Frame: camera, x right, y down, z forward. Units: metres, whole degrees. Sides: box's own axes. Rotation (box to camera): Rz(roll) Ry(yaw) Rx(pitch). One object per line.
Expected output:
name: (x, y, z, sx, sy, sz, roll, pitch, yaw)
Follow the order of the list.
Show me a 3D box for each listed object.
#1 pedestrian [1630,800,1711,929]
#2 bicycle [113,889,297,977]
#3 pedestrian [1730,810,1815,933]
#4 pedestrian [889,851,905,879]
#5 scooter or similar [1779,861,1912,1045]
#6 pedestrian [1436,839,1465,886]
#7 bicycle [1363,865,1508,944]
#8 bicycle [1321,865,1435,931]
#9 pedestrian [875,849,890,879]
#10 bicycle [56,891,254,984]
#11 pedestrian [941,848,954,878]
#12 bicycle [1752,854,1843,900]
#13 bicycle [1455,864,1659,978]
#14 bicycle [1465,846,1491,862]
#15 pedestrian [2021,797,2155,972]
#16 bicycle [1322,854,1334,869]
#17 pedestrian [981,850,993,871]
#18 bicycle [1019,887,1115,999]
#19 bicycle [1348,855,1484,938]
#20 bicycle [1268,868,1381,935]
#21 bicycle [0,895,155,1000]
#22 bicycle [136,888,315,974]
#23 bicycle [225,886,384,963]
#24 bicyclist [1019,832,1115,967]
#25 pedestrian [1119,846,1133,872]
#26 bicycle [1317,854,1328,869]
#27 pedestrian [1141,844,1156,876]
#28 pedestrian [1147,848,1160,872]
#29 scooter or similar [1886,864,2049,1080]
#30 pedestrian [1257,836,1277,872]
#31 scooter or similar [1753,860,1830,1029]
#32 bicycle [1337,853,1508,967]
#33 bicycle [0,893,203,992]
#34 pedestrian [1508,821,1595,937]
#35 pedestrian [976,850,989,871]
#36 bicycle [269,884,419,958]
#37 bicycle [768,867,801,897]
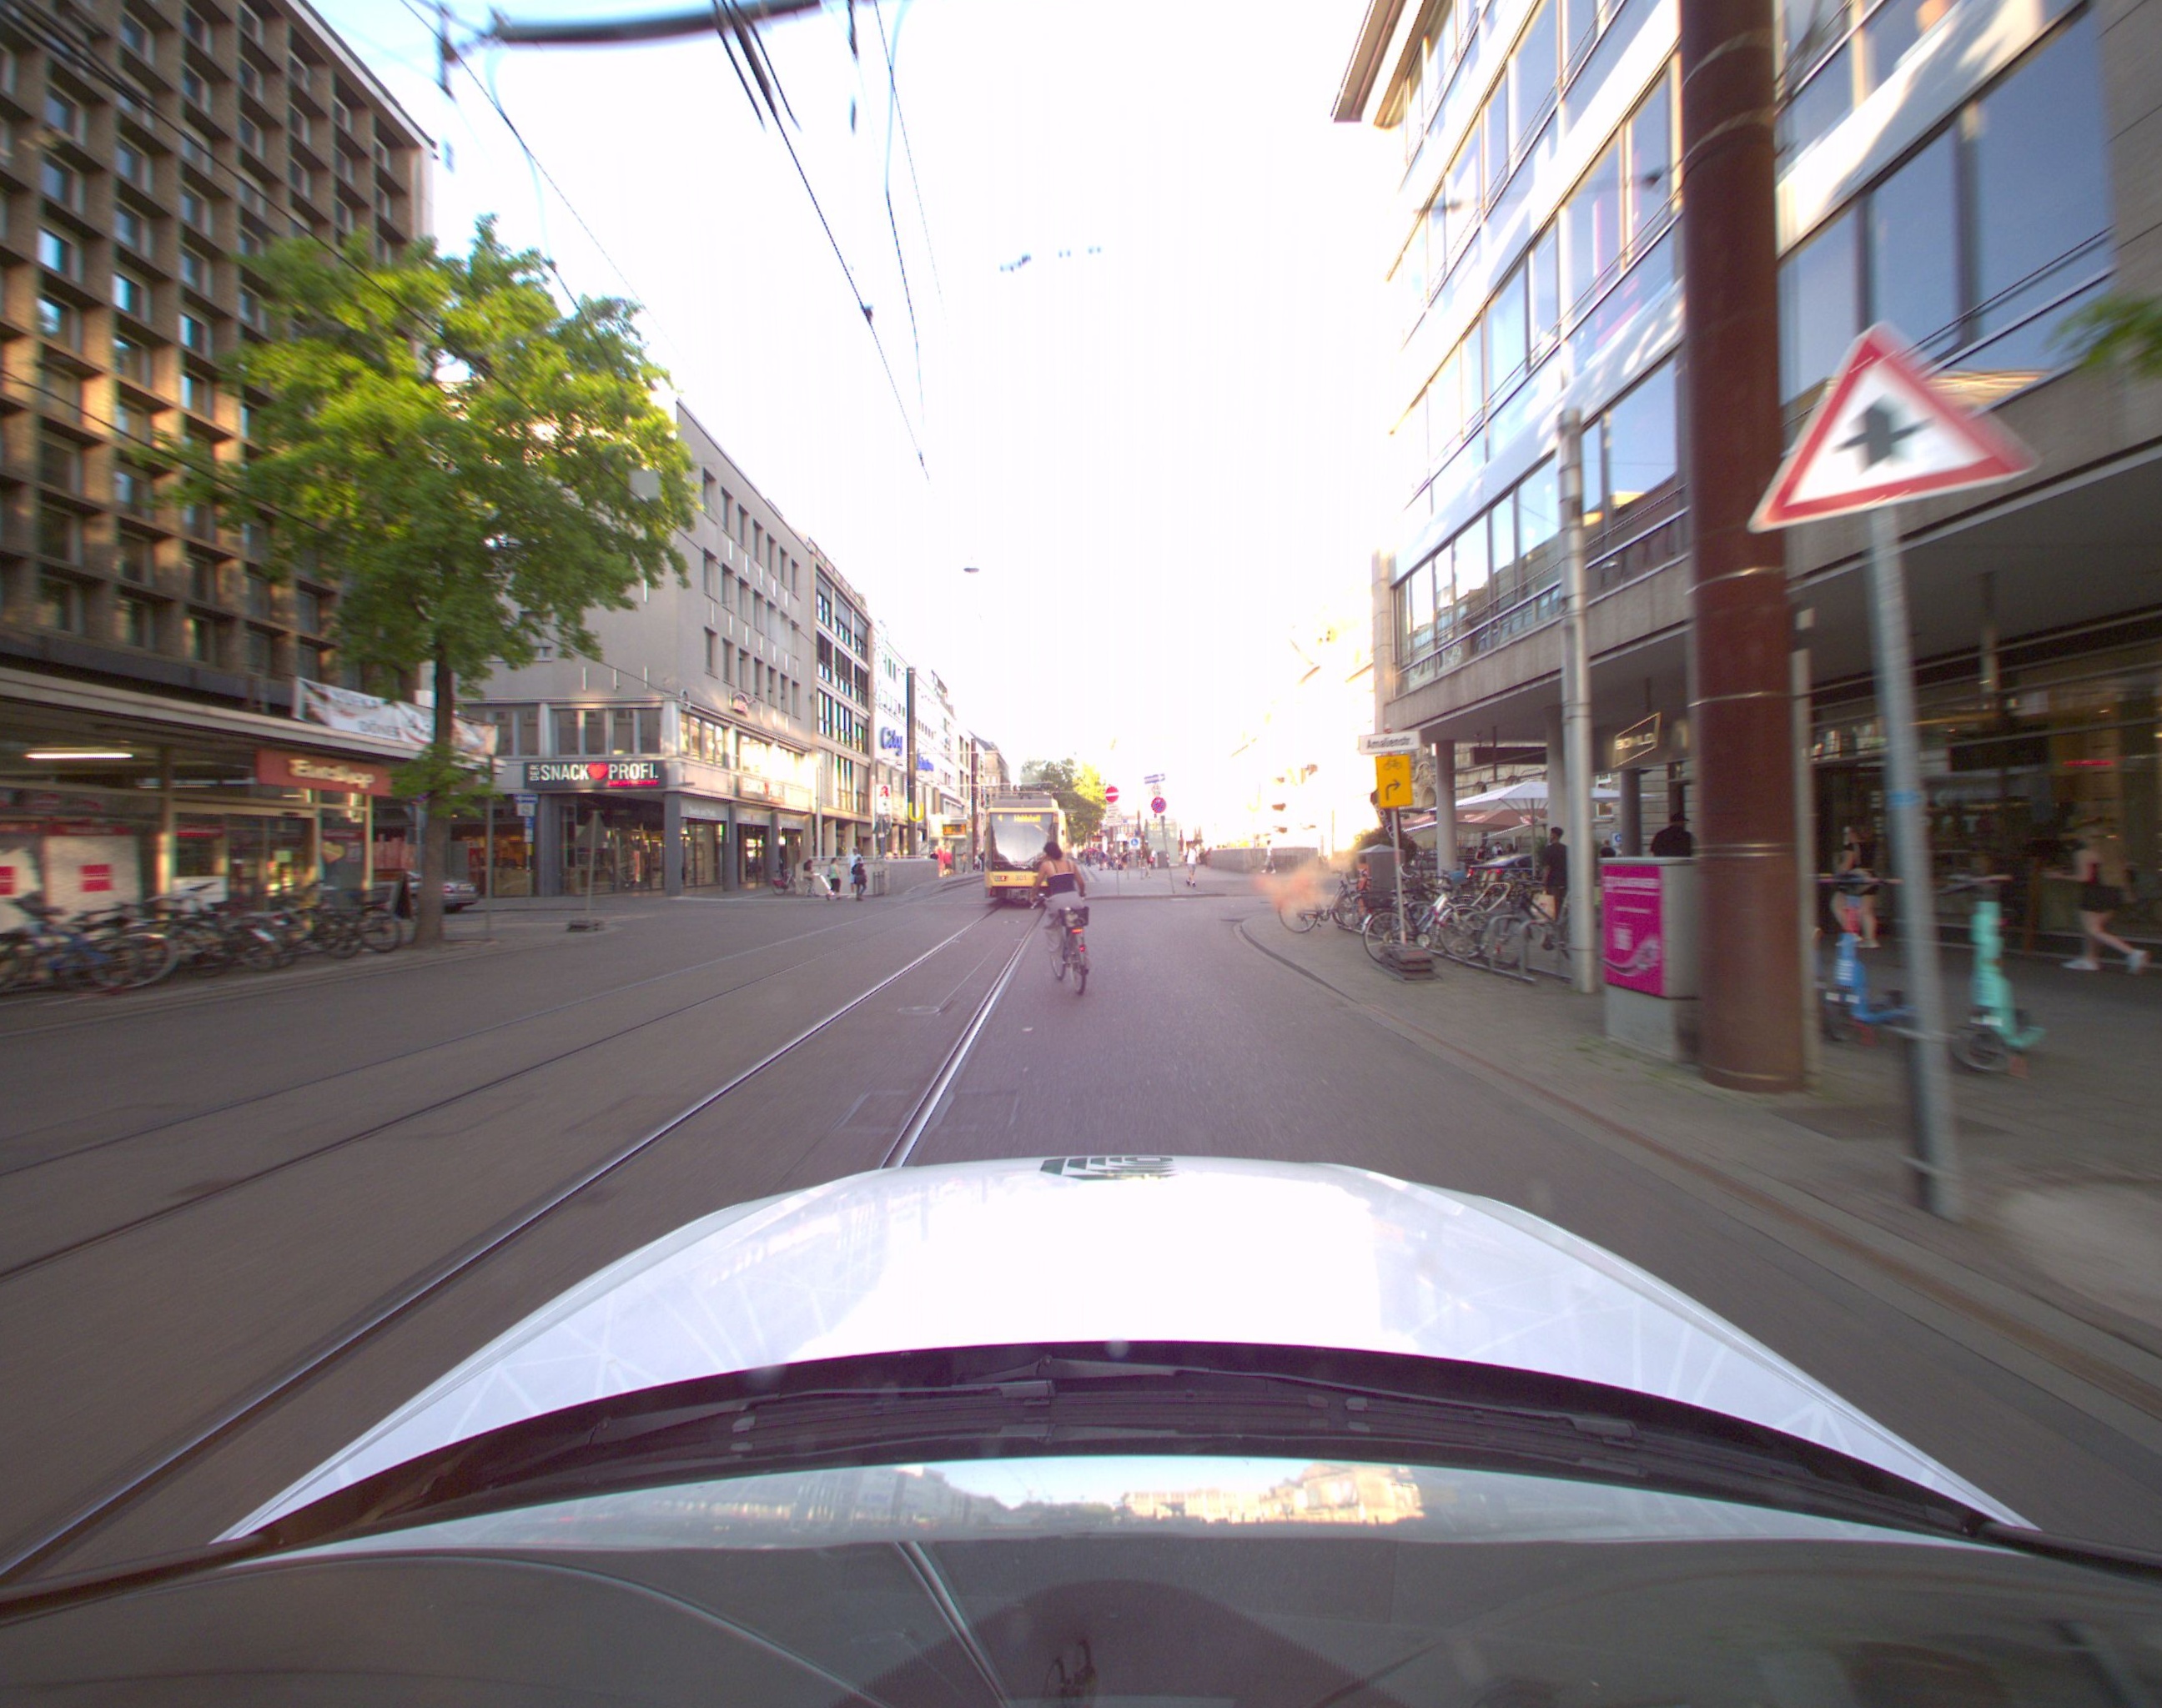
pedestrian: (9.538, 0.164, 13.199, 0.684, 2.013, 0.782, -2, 0, 0)
bicycle: (-11.049, 0.986, 10.302, 1.766, 1.045, 0.489, 1, 0, -1)
pedestrian: (10.789, 0.265, 12.733, 0.659, 1.848, 0.720, -2, -1, 5)
pedestrian: (-10.793, 0.639, 47.775, 0.632, 1.588, 0.598, 0, -2, -43)
scooter or similar: (5.852, 0.707, 6.221, 1.195, 1.251, 0.389, -2, 0, -30)
pedestrian: (14.871, 0.327, 32.780, 0.805, 1.823, 0.807, -1, 1, 4)
bicycle: (5.531, 0.767, 12.770, 1.912, 1.077, 0.762, -3, 0, -5)
bicycle: (5.487, 0.801, 15.109, 1.848, 1.109, 0.666, -2, 0, -3)
pedestrian: (-11.566, 0.585, 47.398, 0.632, 1.725, 0.598, 0, -2, -44)
bicycle: (-11.026, 0.982, 9.724, 1.766, 1.045, 0.489, 1, 0, -1)
pedestrian: (-7.865, 0.534, 47.968, 0.713, 1.698, 0.784, -1, -1, -6)
bicycle: (17.915, 0.569, 20.375, 1.802, 1.118, 0.546, -1, -2, -2)
bicycle: (5.589, 0.760, 9.626, 1.993, 1.155, 0.724, -3, 0, -5)
bicycle: (22.999, 0.016, 47.193, 1.315, 0.894, 0.410, -2, 1, -5)
pedestrian: (10.466, 0.305, 8.482, 0.568, 1.731, 0.617, -2, 0, -1)
bicycle: (14.332, 0.444, 47.300, 0.314, 0.867, 0.999, -2, 0, -1)
pedestrian: (-7.858, 0.524, 67.840, 0.711, 1.725, 0.768, -1, -1, -29)
bicycle: (-0.217, 0.969, 9.599, 0.815, 1.073, 2.106, 1, 0, -10)
bicycle: (5.532, 0.688, 13.517, 1.912, 1.222, 0.762, -3, 0, -5)
bicycle: (4.448, 0.854, 14.951, 1.848, 1.109, 0.666, -2, 0, -3)
bicycle: (-11.032, 0.975, 8.661, 1.766, 1.045, 0.489, 1, 0, -1)
bicycle: (-11.046, 0.987, 10.545, 1.766, 1.045, 0.489, 1, 0, -1)
bicycle: (-11.046, 0.994, 11.606, 1.766, 1.045, 0.489, 1, 0, -1)
bicyclist: (-0.182, 0.505, 9.523, 0.997, 1.502, 0.854, 1, 0, -10)
pedestrian: (3.235, 0.331, 58.512, 0.735, 1.823, 0.816, -1, 0, -15)
bicycle: (14.007, 0.446, 47.293, 0.314, 0.867, 0.999, -2, 0, -1)
pedestrian: (3.635, 0.336, 43.991, 0.716, 1.725, 0.709, -1, -1, -2)
pedestrian: (5.581, 0.435, 62.414, 0.771, 1.823, 0.939, -2, 0, -4)
scooter or similar: (5.889, 0.718, 5.400, 1.119, 1.251, 0.492, -2, 0, -31)
pedestrian: (10.335, 0.001, 45.277, 0.911, 2.014, 0.773, 0, -1, 1)
scooter or similar: (5.916, 0.699, 6.810, 0.388, 1.251, 1.199, -2, 1, 38)
bicycle: (4.483, 0.708, 10.758, 1.912, 1.333, 0.724, -3, 0, -5)
bicycle: (-11.028, 0.978, 9.153, 1.766, 1.045, 0.489, 1, 0, -1)
pedestrian: (7.322, 0.381, 12.715, 0.761, 1.719, 0.923, -2, -1, 1)
pedestrian: (-7.983, 0.537, 66.017, 0.712, 1.725, 0.768, 0, -1, -31)
bicycle: (-11.010, 0.998, 12.187, 1.766, 1.045, 0.489, 1, 0, -1)
bicycle: (-12.111, 1.117, 33.313, 0.496, 1.107, 1.803, -1, 1, 5)
